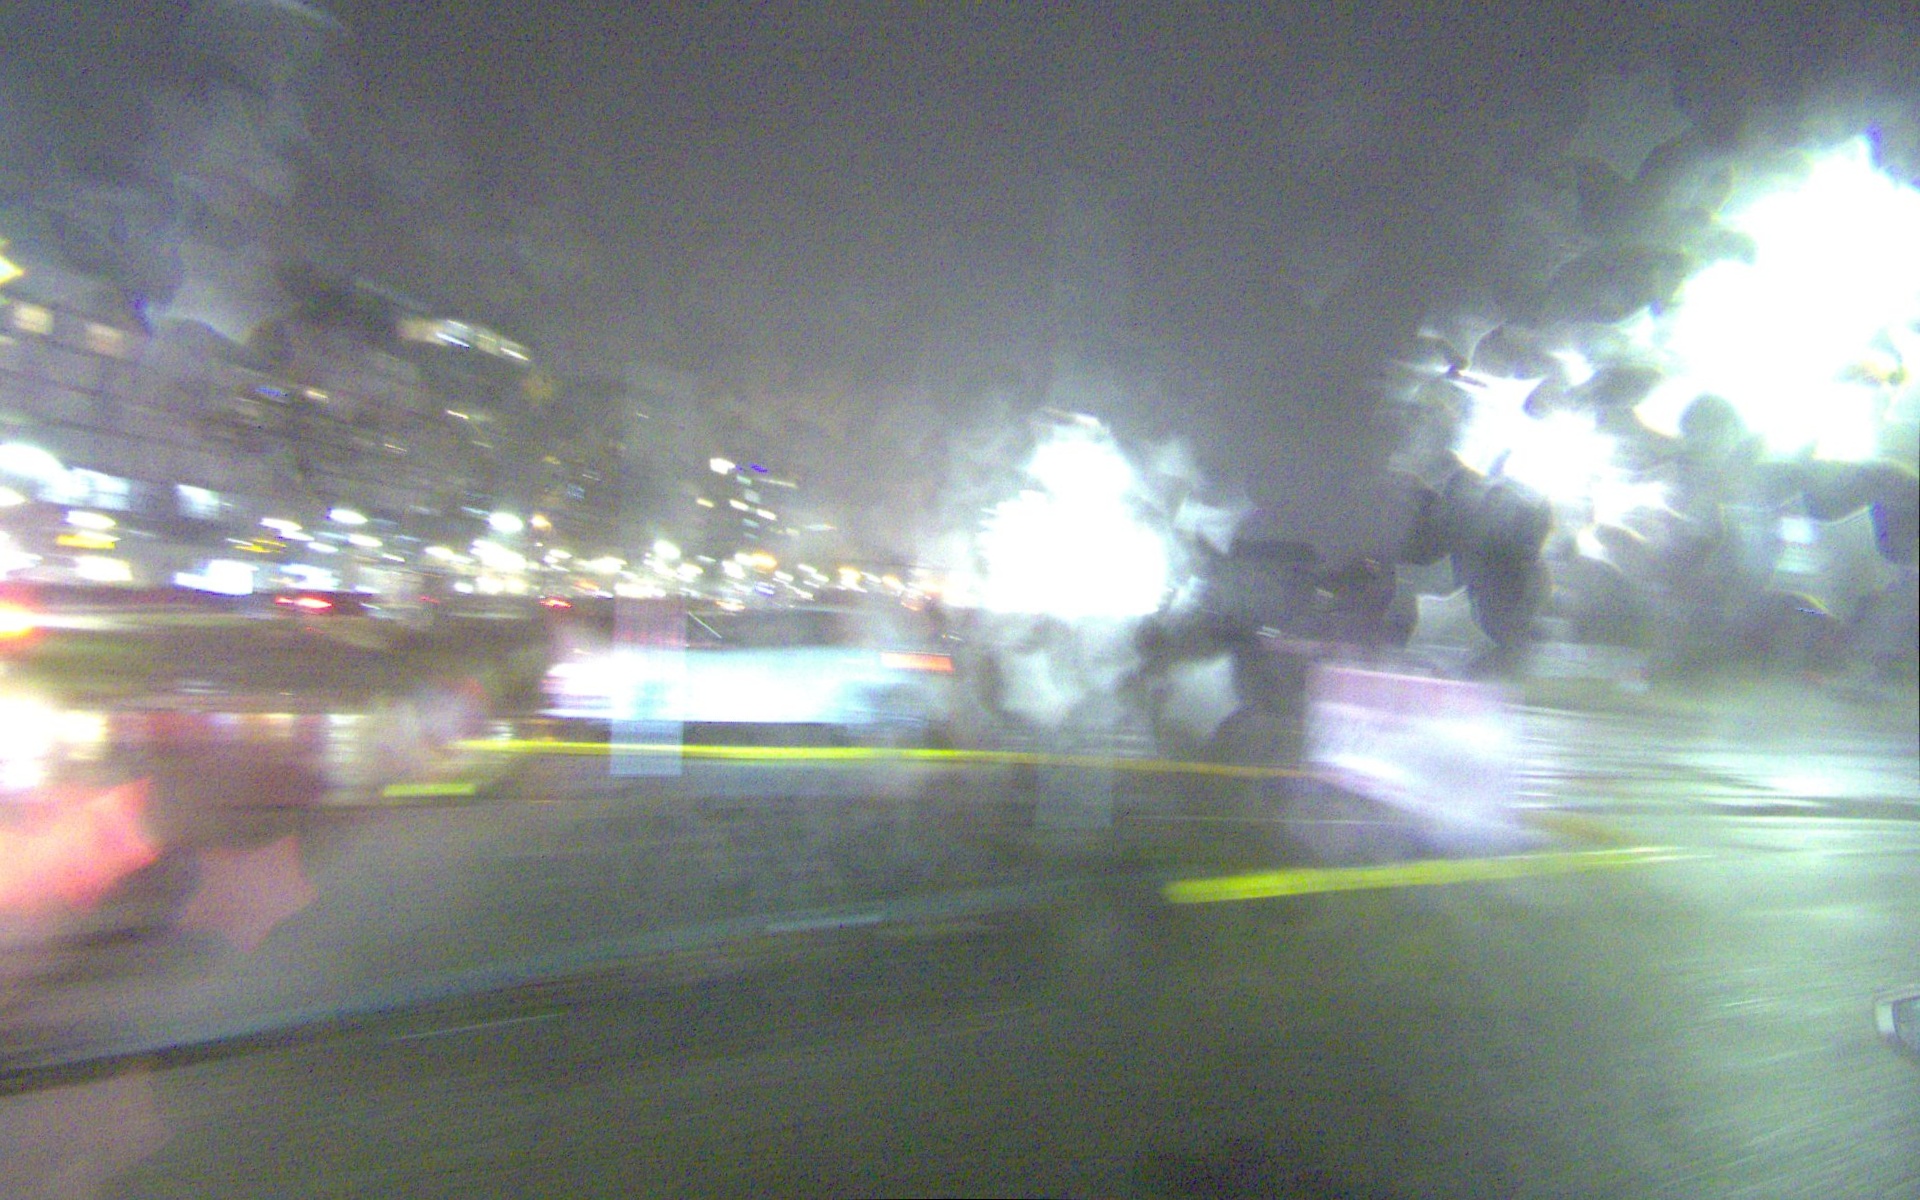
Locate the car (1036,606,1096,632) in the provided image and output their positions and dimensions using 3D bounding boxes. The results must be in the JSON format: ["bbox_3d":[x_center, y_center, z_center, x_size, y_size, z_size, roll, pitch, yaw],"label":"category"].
[{"bbox_3d":[8.057,1.435,76.457,4.343,1.643,2.001,4,0,3],"label":"car"}]

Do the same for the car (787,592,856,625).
[{"bbox_3d":[-9.598,0.626,69.881,4.228,1.758,2.335,6,-2,4],"label":"car"}]

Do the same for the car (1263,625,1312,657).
[{"bbox_3d":[21.002,2.630,64.605,1.960,1.862,3.805,3,-1,3],"label":"car"}]

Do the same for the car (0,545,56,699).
[{"bbox_3d":[-12.498,0.110,10.267,4.542,1.643,2.070,3,-1,0],"label":"car"}]

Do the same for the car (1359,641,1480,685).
[{"bbox_3d":[16.839,2.291,36.955,3.743,1.353,1.538,3,0,11],"label":"car"}]

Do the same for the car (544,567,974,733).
[{"bbox_3d":[-2.085,0.593,11.213,4.223,1.473,1.999,3,-4,-6],"label":"car"}]

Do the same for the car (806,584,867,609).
[{"bbox_3d":[-9.356,-0.264,76.221,4.309,1.643,2.000,2,0,0],"label":"car"}]

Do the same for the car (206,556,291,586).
[{"bbox_3d":[-47.034,-1.897,66.517,1.959,1.643,4.435,3,-1,11],"label":"car"}]
